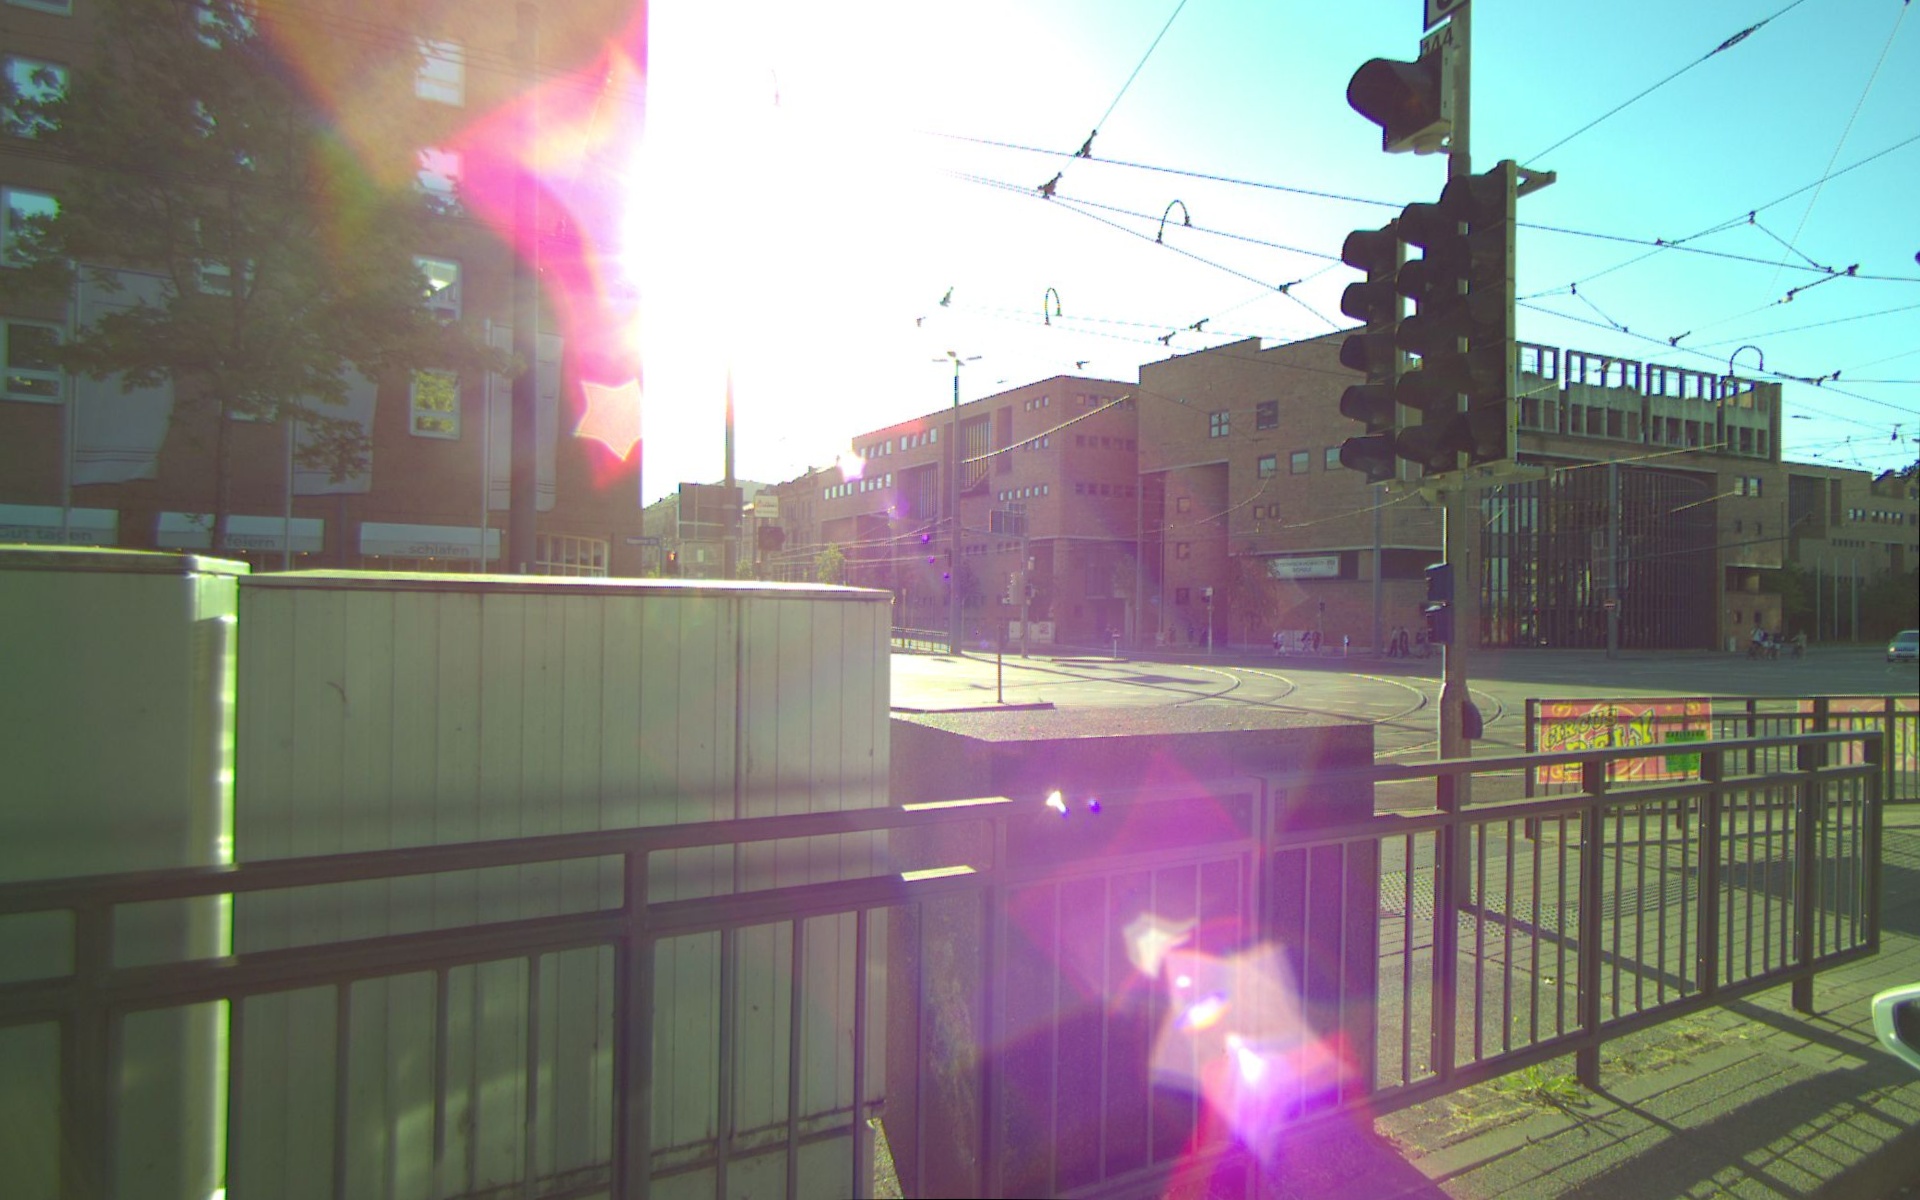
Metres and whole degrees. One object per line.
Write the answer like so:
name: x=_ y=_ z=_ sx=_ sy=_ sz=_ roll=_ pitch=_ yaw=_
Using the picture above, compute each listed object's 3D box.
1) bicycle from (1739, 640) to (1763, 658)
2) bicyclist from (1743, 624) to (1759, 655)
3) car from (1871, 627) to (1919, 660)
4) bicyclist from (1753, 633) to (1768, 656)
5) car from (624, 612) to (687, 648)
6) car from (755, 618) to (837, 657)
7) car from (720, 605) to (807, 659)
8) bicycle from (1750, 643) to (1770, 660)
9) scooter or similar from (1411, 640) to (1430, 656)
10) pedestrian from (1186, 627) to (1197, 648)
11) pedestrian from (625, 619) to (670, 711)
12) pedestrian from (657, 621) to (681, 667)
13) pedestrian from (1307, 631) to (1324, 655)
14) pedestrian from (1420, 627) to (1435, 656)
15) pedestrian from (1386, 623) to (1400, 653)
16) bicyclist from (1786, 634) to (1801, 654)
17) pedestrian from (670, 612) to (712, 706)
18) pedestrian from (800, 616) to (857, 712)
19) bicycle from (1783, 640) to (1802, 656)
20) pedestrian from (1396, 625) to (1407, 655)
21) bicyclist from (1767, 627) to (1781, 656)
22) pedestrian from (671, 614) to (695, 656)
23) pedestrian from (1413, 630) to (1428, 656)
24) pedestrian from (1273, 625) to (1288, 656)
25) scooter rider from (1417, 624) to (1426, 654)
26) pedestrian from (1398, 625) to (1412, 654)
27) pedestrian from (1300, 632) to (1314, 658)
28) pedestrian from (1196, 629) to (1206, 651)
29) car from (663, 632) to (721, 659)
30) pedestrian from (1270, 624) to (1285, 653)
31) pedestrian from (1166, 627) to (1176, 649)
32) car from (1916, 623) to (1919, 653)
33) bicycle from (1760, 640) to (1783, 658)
bicycle: x=44.414 y=2.744 z=56.385 sx=1.568 sy=0.976 sz=0.539 roll=1 pitch=-1 yaw=-30
bicyclist: x=44.417 y=2.220 z=56.398 sx=0.574 sy=1.754 sz=0.534 roll=1 pitch=-1 yaw=-30
car: x=48.980 y=2.225 z=51.779 sx=3.954 sy=1.661 sz=1.983 roll=1 pitch=-2 yaw=-31
bicyclist: x=46.759 y=2.617 z=58.664 sx=0.574 sy=1.321 sz=0.503 roll=1 pitch=-1 yaw=-30
car: x=-18.577 y=1.806 z=61.183 sx=1.982 sy=2.122 sz=5.156 roll=1 pitch=-2 yaw=-38
car: x=-8.550 y=1.915 z=51.963 sx=1.982 sy=1.928 sz=5.156 roll=1 pitch=-2 yaw=-38
car: x=-9.445 y=1.519 z=47.933 sx=1.982 sy=2.419 sz=5.156 roll=1 pitch=-2 yaw=-38
bicycle: x=46.726 y=2.975 z=58.648 sx=1.304 sy=0.976 sz=0.465 roll=1 pitch=-1 yaw=-30
scooter or similar: x=25.375 y=2.640 z=55.372 sx=0.931 sy=0.911 sz=0.176 roll=0 pitch=-1 yaw=14
pedestrian: x=16.401 y=2.648 z=71.047 sx=0.555 sy=1.445 sz=0.550 roll=1 pitch=-1 yaw=-38
pedestrian: x=-6.459 y=1.323 z=20.742 sx=0.713 sy=1.837 sz=0.904 roll=1 pitch=-1 yaw=-28
pedestrian: x=-10.610 y=1.603 z=36.590 sx=0.658 sy=1.669 sz=0.638 roll=1 pitch=-1 yaw=-34
pedestrian: x=19.853 y=2.404 z=56.053 sx=0.670 sy=1.357 sz=0.603 roll=1 pitch=-1 yaw=-14
pedestrian: x=26.958 y=2.372 z=57.914 sx=0.606 sy=1.647 sz=0.613 roll=0 pitch=-1 yaw=1
pedestrian: x=24.724 y=2.150 z=57.385 sx=0.609 sy=1.706 sz=0.651 roll=0 pitch=-1 yaw=8
bicyclist: x=49.395 y=2.616 z=59.523 sx=0.574 sy=1.194 sz=0.503 roll=1 pitch=-1 yaw=-30
pedestrian: x=-5.497 y=1.187 z=20.482 sx=0.647 sy=1.864 sz=0.835 roll=1 pitch=-1 yaw=-28
pedestrian: x=-2.365 y=1.124 z=18.009 sx=0.709 sy=1.669 sz=0.953 roll=1 pitch=-1 yaw=-30
bicycle: x=49.324 y=2.836 z=59.515 sx=1.332 sy=0.976 sz=0.449 roll=1 pitch=-1 yaw=-30
pedestrian: x=24.852 y=2.244 z=56.535 sx=0.540 sy=1.706 sz=0.592 roll=0 pitch=-1 yaw=17
bicyclist: x=45.091 y=2.303 z=55.646 sx=0.574 sy=1.624 sz=0.456 roll=1 pitch=-1 yaw=-30
pedestrian: x=-13.759 y=1.737 z=49.925 sx=0.856 sy=2.040 sz=0.880 roll=2 pitch=0 yaw=-39
pedestrian: x=26.179 y=2.442 z=57.091 sx=0.588 sy=1.440 sz=0.642 roll=0 pitch=-1 yaw=2
pedestrian: x=17.924 y=2.259 z=56.125 sx=0.540 sy=1.670 sz=0.599 roll=1 pitch=-1 yaw=-18
scooter rider: x=25.426 y=2.163 z=55.380 sx=0.429 sy=1.669 sz=0.229 roll=0 pitch=-1 yaw=15
pedestrian: x=25.879 y=2.299 z=58.418 sx=0.539 sy=1.706 sz=0.573 roll=0 pitch=-1 yaw=-5
pedestrian: x=19.765 y=2.575 z=57.223 sx=0.603 sy=1.473 sz=0.569 roll=1 pitch=-1 yaw=-9
pedestrian: x=16.542 y=2.731 z=68.894 sx=0.463 sy=1.482 sz=0.505 roll=1 pitch=-1 yaw=-37
car: x=-14.416 y=2.406 z=53.982 sx=1.729 sy=1.372 sz=3.960 roll=1 pitch=-2 yaw=-36
pedestrian: x=18.080 y=2.196 z=57.247 sx=0.581 sy=1.635 sz=0.595 roll=1 pitch=-1 yaw=-21
pedestrian: x=14.923 y=2.686 z=71.039 sx=0.524 sy=1.482 sz=0.590 roll=1 pitch=-1 yaw=-8
car: x=55.249 y=2.112 z=55.893 sx=3.954 sy=1.661 sz=1.983 roll=1 pitch=-2 yaw=-31
bicycle: x=45.011 y=2.725 z=55.702 sx=1.557 sy=0.976 sz=0.470 roll=1 pitch=-1 yaw=-30
